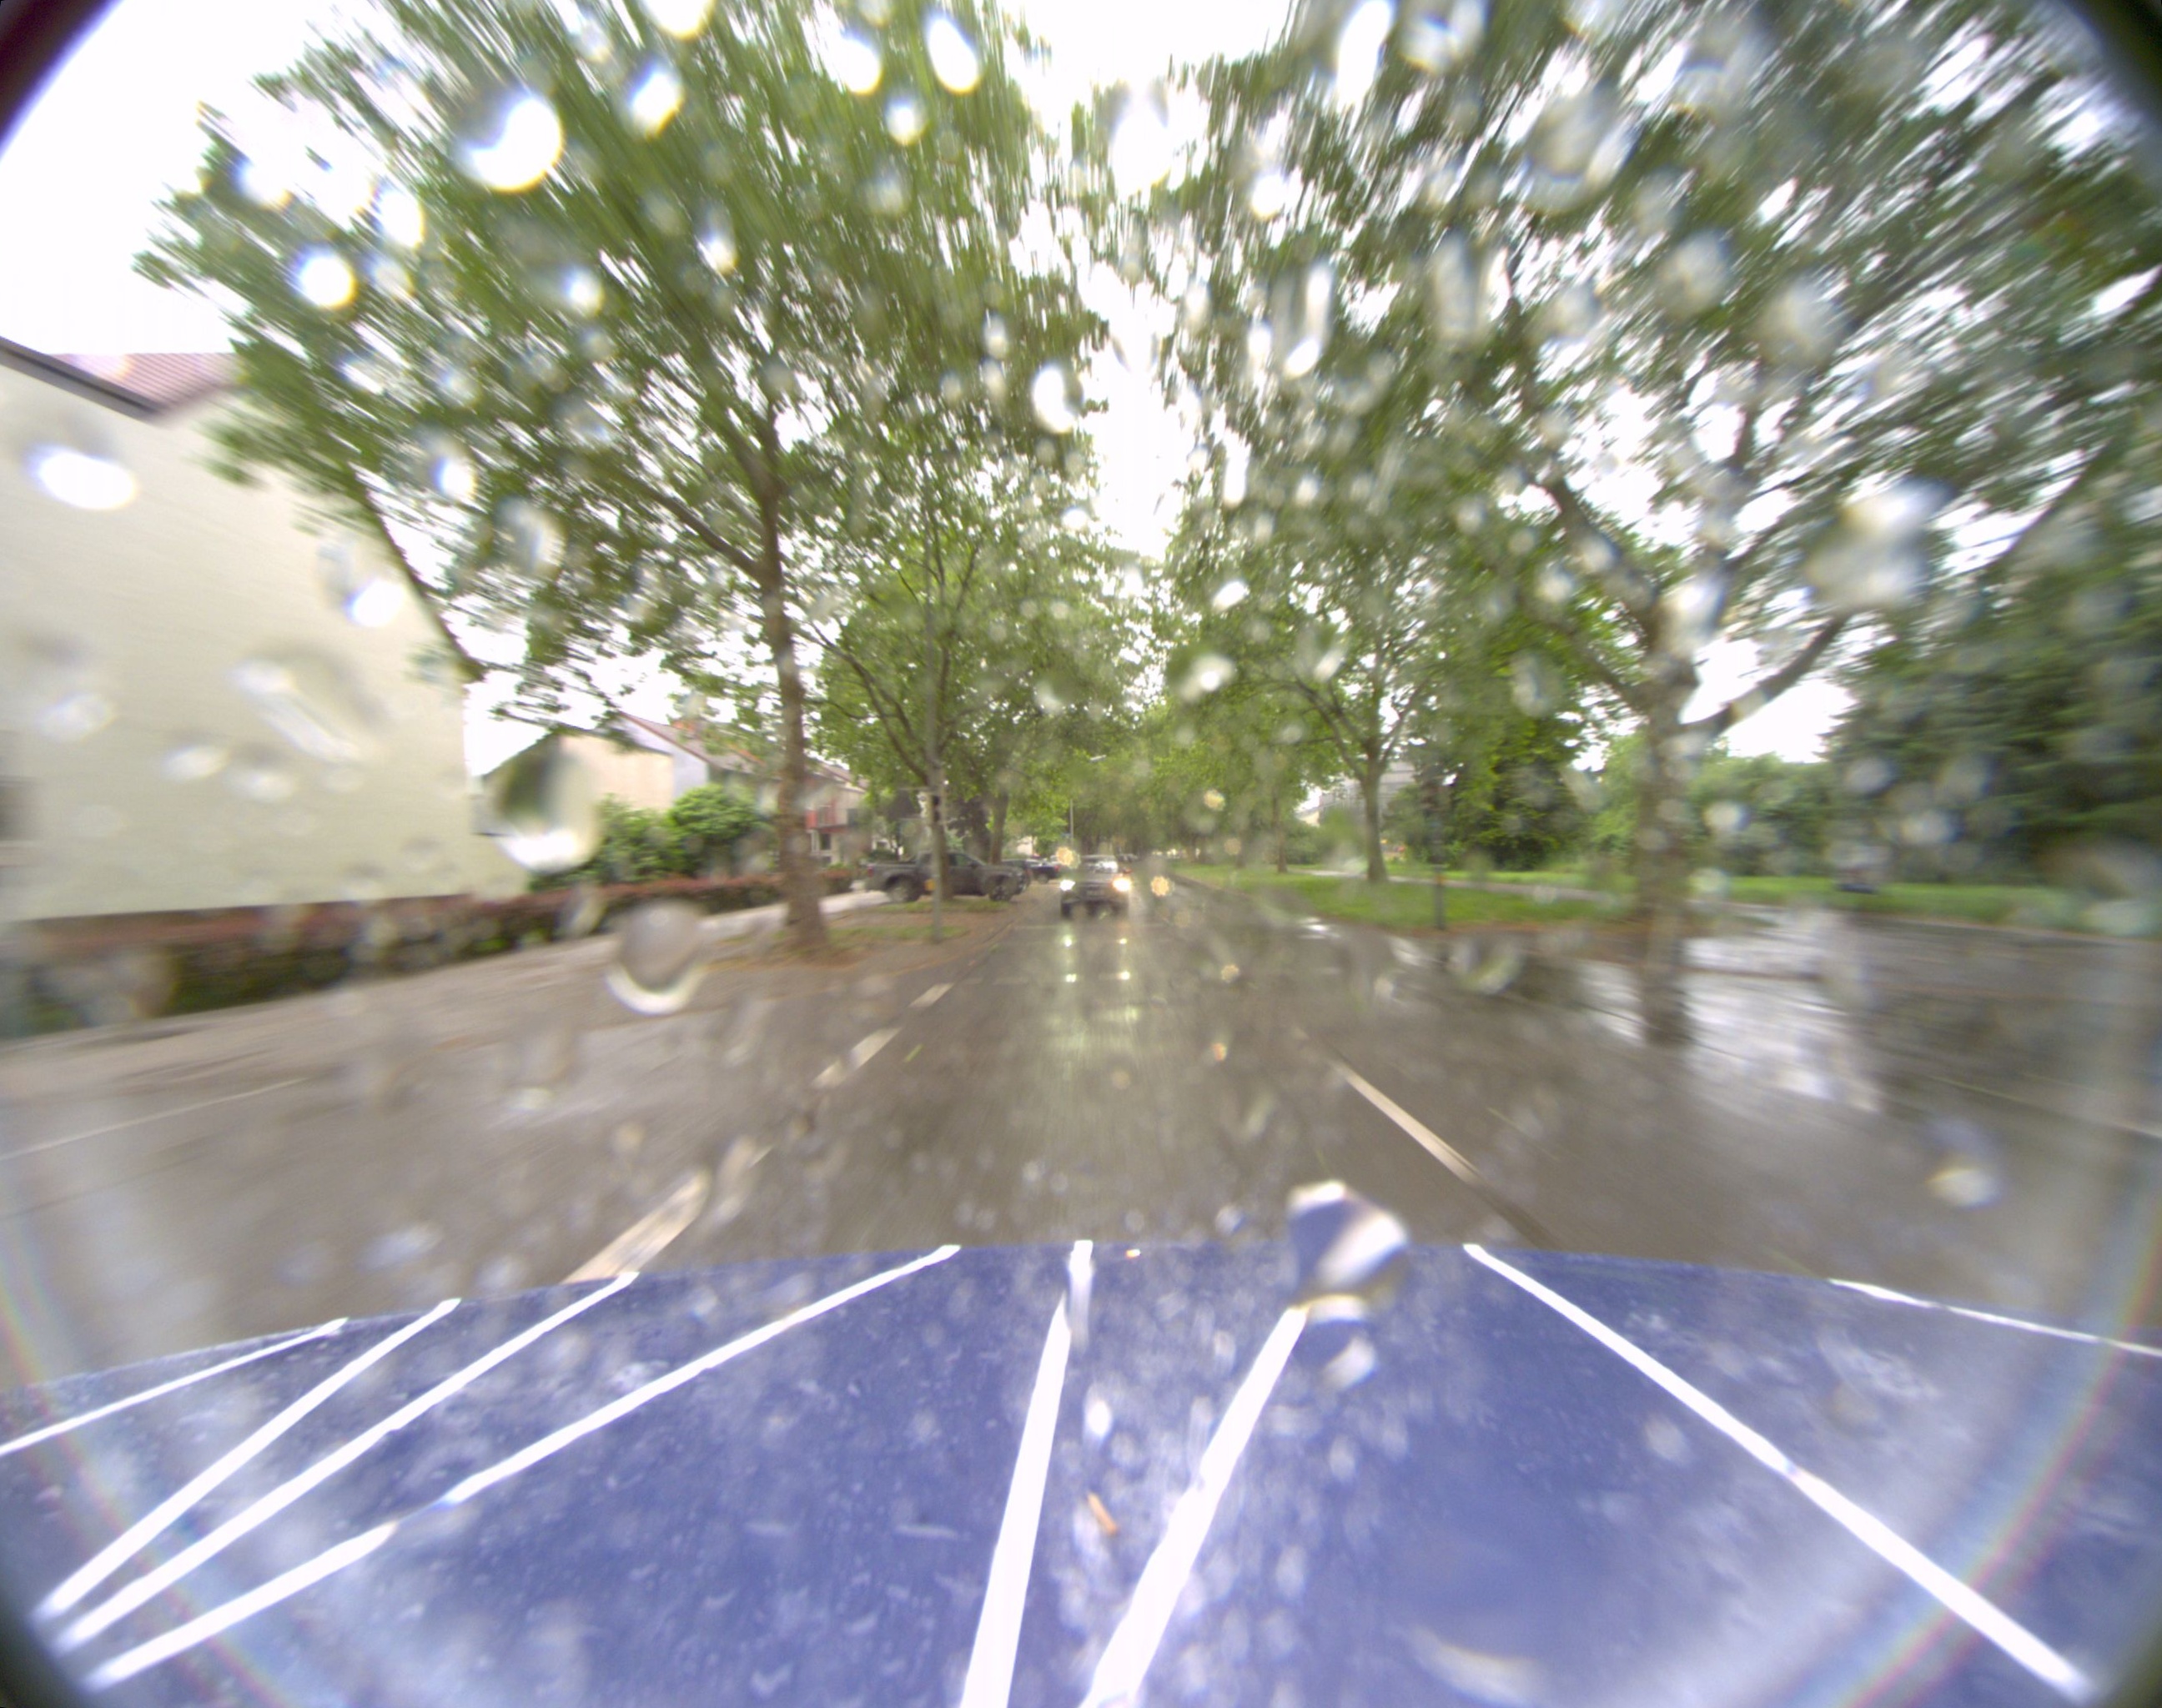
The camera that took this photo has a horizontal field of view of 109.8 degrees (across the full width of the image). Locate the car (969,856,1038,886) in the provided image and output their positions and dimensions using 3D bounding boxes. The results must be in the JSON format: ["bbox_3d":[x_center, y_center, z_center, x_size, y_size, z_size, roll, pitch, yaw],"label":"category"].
[{"bbox_3d":[-3.986,0.879,39.470,3.363,1.455,1.619,-1,0,3],"label":"car"}]

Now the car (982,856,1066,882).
[{"bbox_3d":[-3.304,0.866,44.610,4.778,1.464,1.937,-1,0,-1],"label":"car"}]

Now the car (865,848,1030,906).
[{"bbox_3d":[-4.470,0.755,26.105,5.353,1.796,1.845,-1,0,-3],"label":"car"}]

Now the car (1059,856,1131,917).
[{"bbox_3d":[0.508,0.876,22.459,1.862,1.608,4.425,-1,0,4],"label":"car"}]

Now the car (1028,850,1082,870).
[{"bbox_3d":[-2.290,0.541,68.762,4.700,1.651,1.976,-1,0,2],"label":"car"}]
